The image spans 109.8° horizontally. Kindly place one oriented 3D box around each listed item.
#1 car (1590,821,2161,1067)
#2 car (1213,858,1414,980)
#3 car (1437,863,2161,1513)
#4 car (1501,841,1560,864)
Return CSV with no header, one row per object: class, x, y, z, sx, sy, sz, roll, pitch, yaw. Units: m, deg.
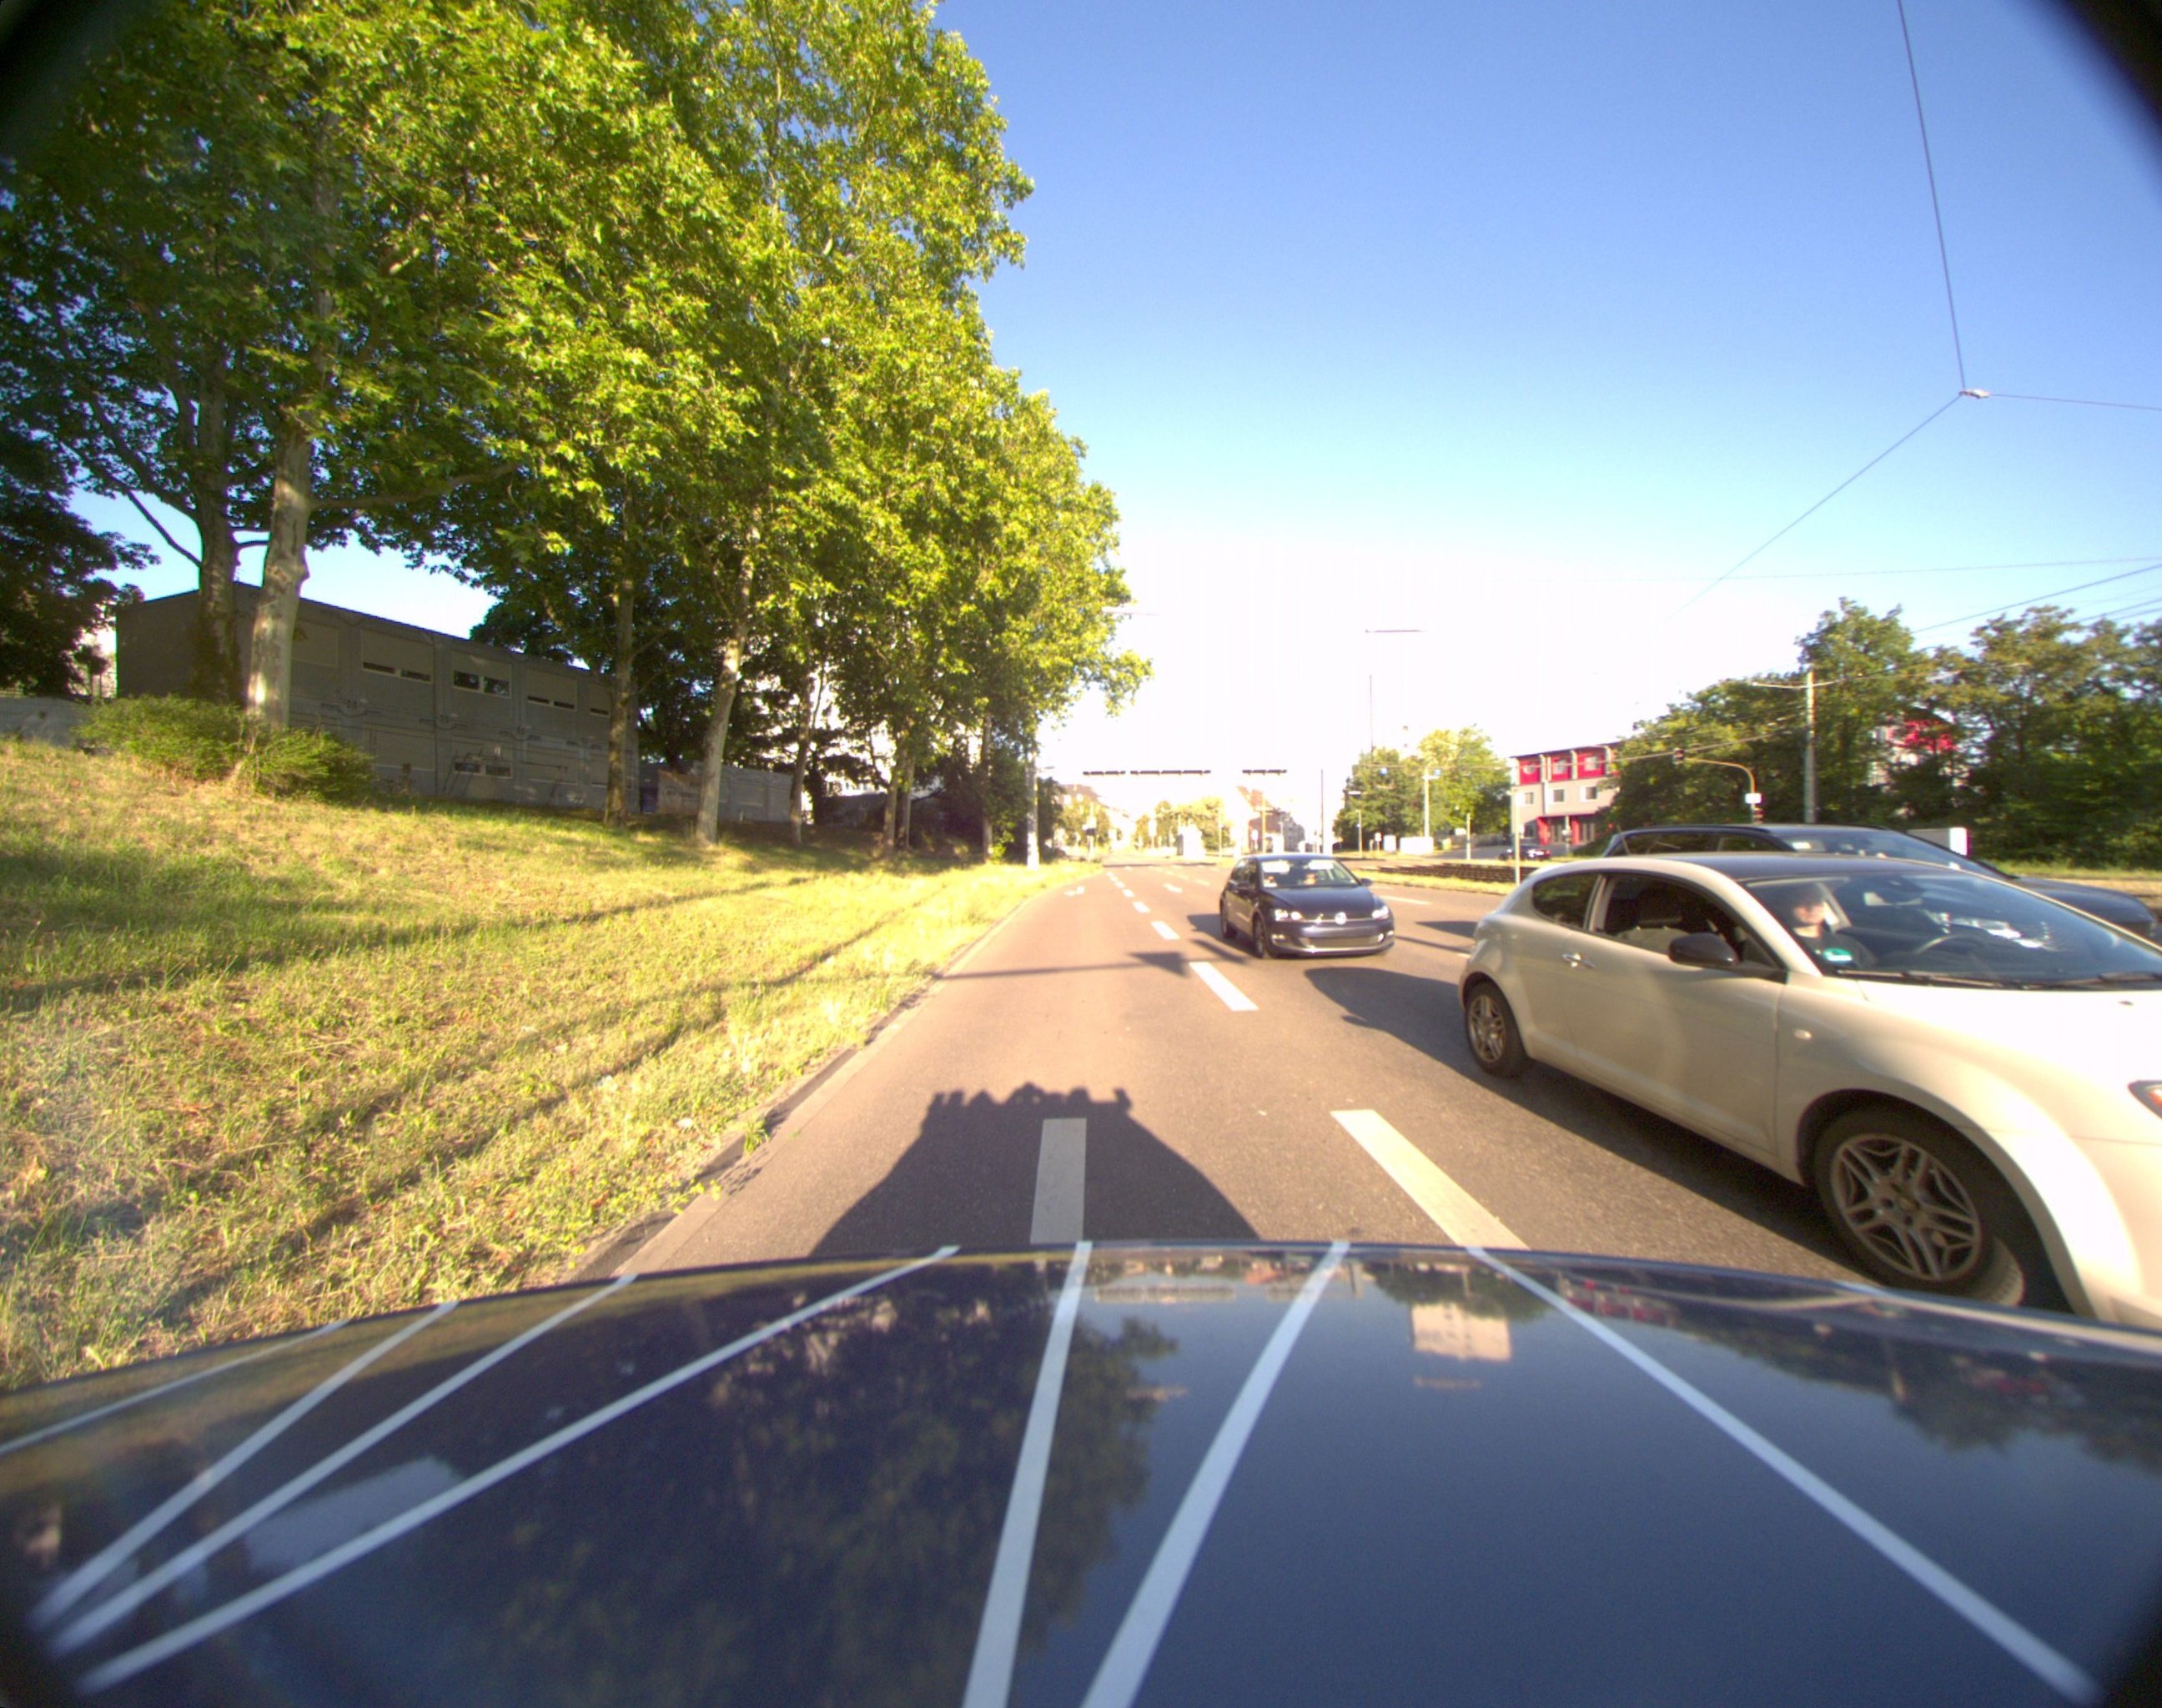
car,7.283,0.602,7.297,1.905,1.652,4.276,-1,0,-1
car,3.241,0.815,11.452,1.741,1.429,3.999,-2,1,-1
car,3.448,0.825,3.458,1.741,1.496,3.999,-1,0,-1
car,34.208,-0.111,57.970,1.752,1.669,4.756,-2,0,2
